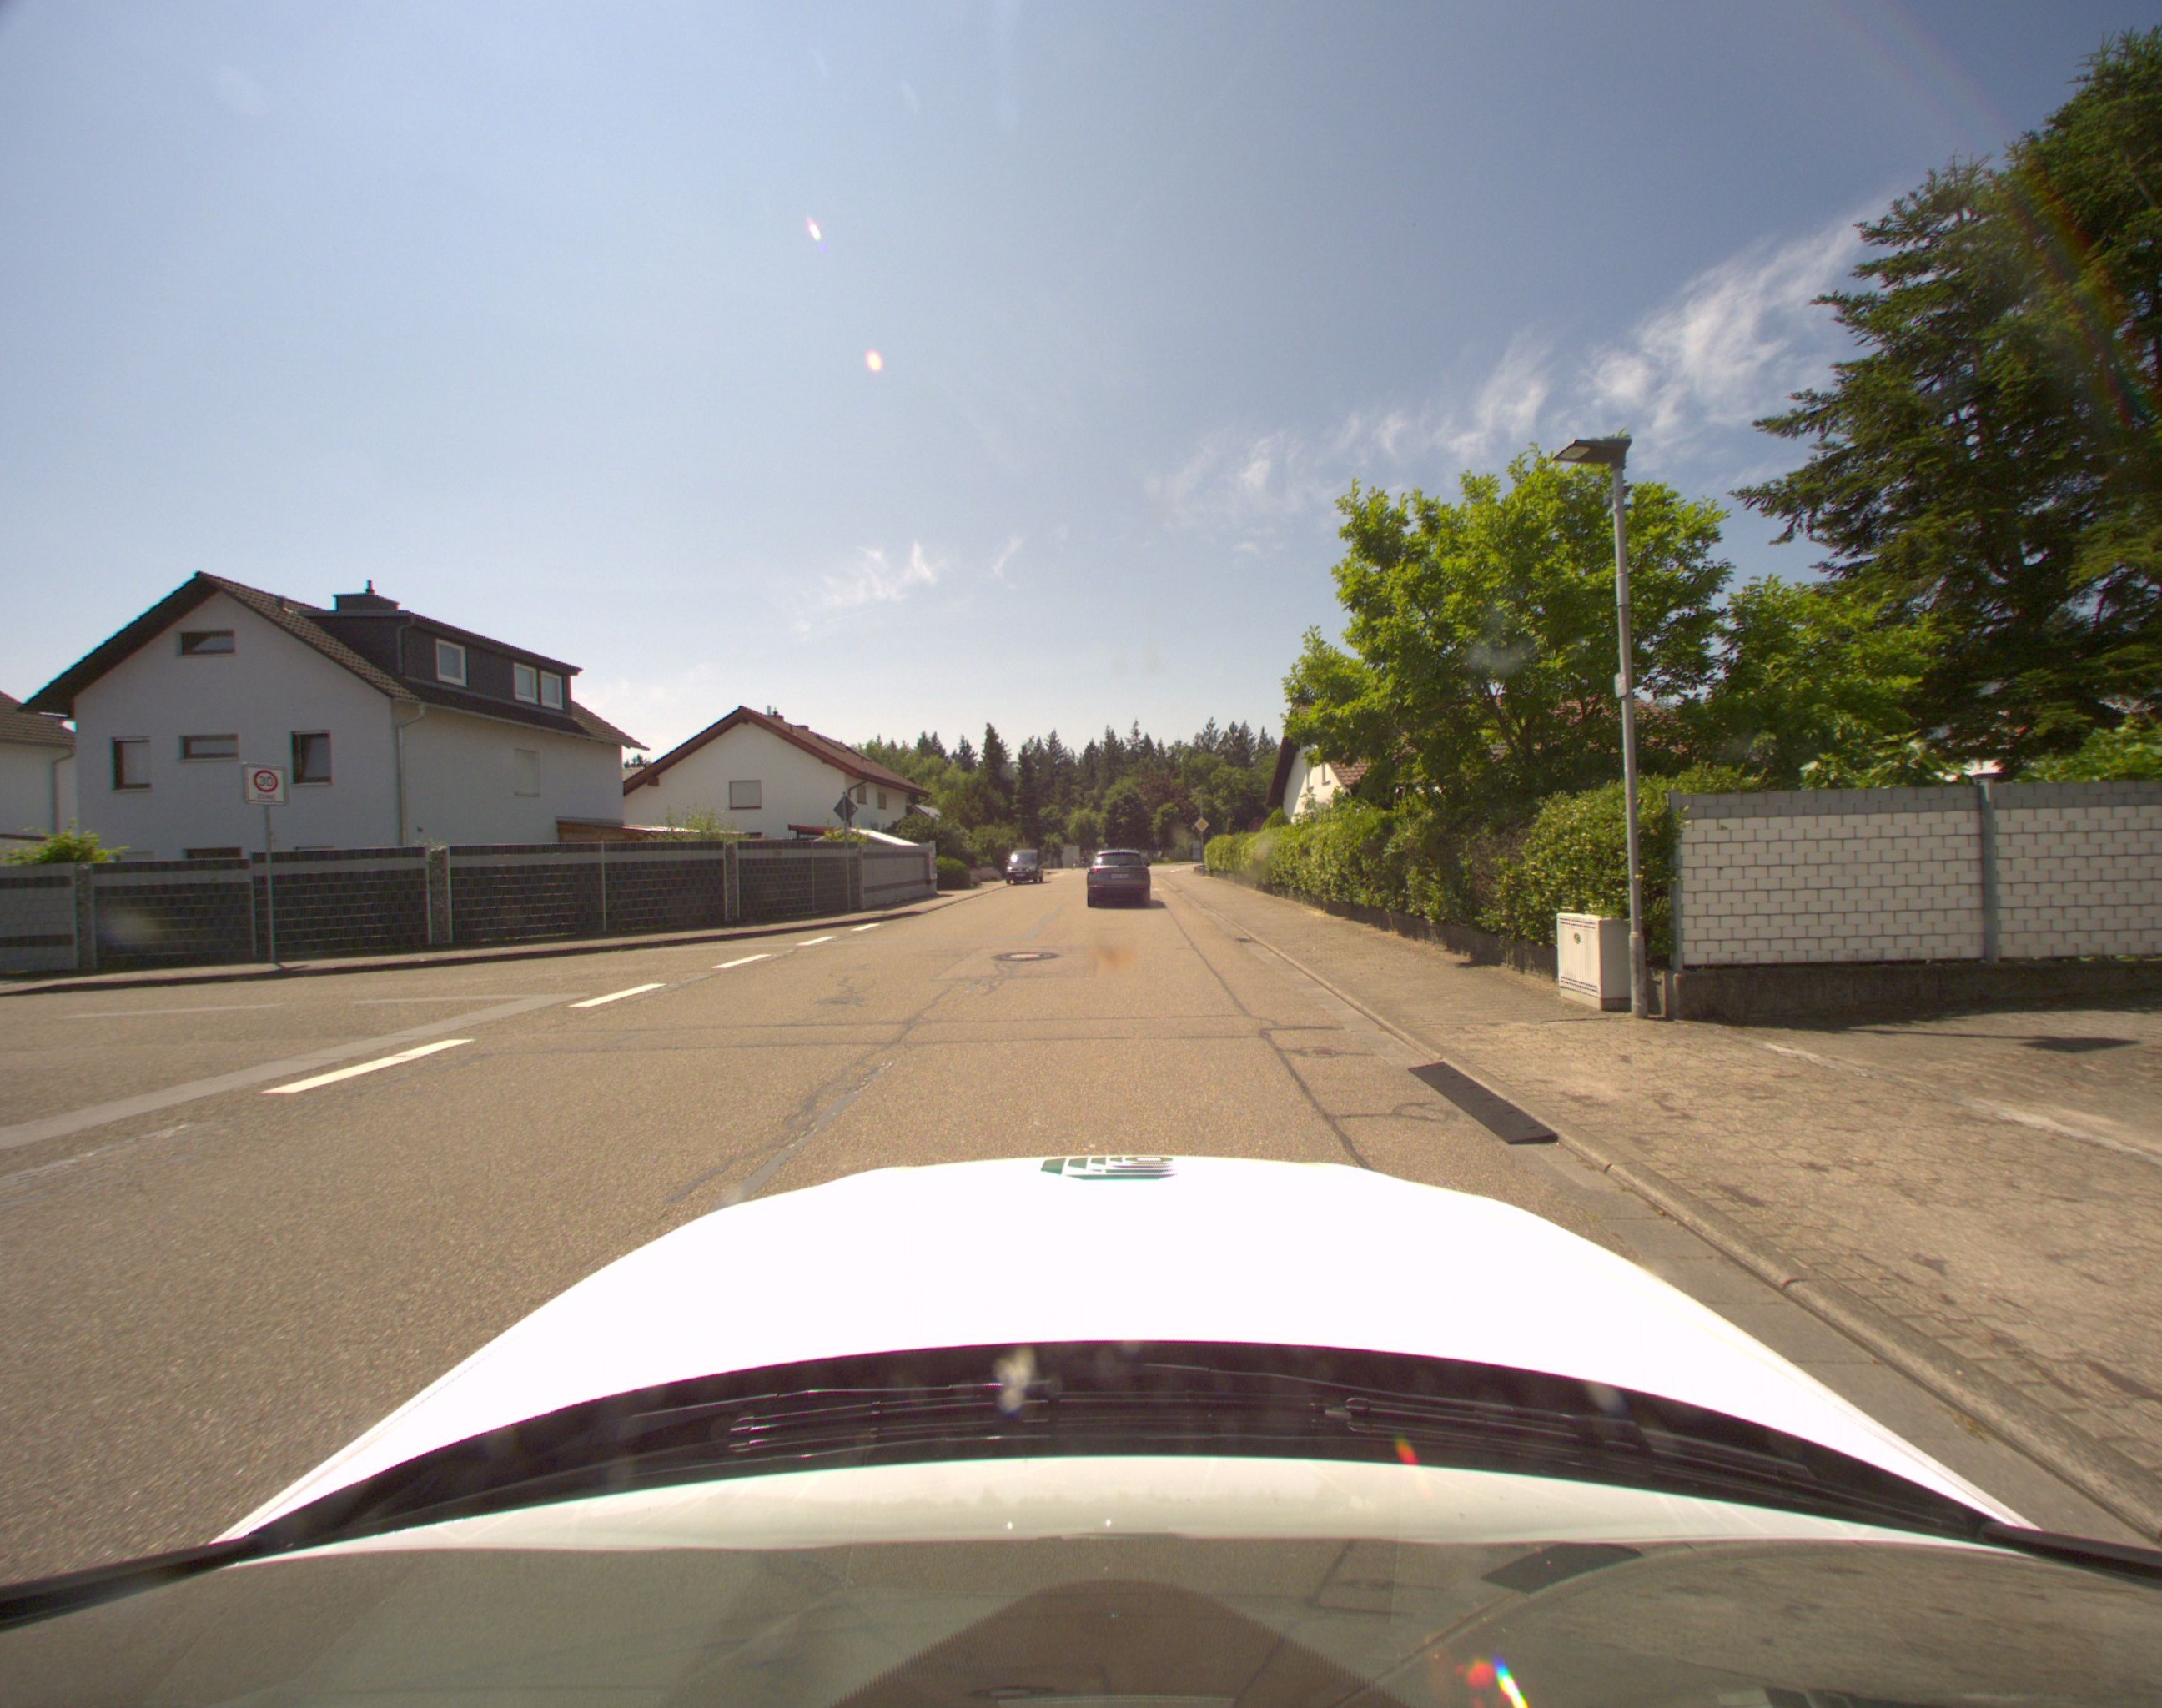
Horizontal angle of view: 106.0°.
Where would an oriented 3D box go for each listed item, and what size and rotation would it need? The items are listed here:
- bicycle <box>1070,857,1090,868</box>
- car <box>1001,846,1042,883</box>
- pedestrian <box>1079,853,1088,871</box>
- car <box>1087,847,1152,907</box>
[{"bbox_3d":[-0.083,0.727,71.644,1.855,0.964,0.439,-1,0,-33],"label":"bicycle"},{"bbox_3d":[-3.146,0.545,43.650,1.711,1.846,4.056,-1,0,2],"label":"car"},{"bbox_3d":[0.198,0.706,71.231,0.614,1.501,0.499,-1,-1,-32],"label":"pedestrian"},{"bbox_3d":[1.119,0.617,23.941,1.755,1.618,4.002,0,0,2],"label":"car"}]
